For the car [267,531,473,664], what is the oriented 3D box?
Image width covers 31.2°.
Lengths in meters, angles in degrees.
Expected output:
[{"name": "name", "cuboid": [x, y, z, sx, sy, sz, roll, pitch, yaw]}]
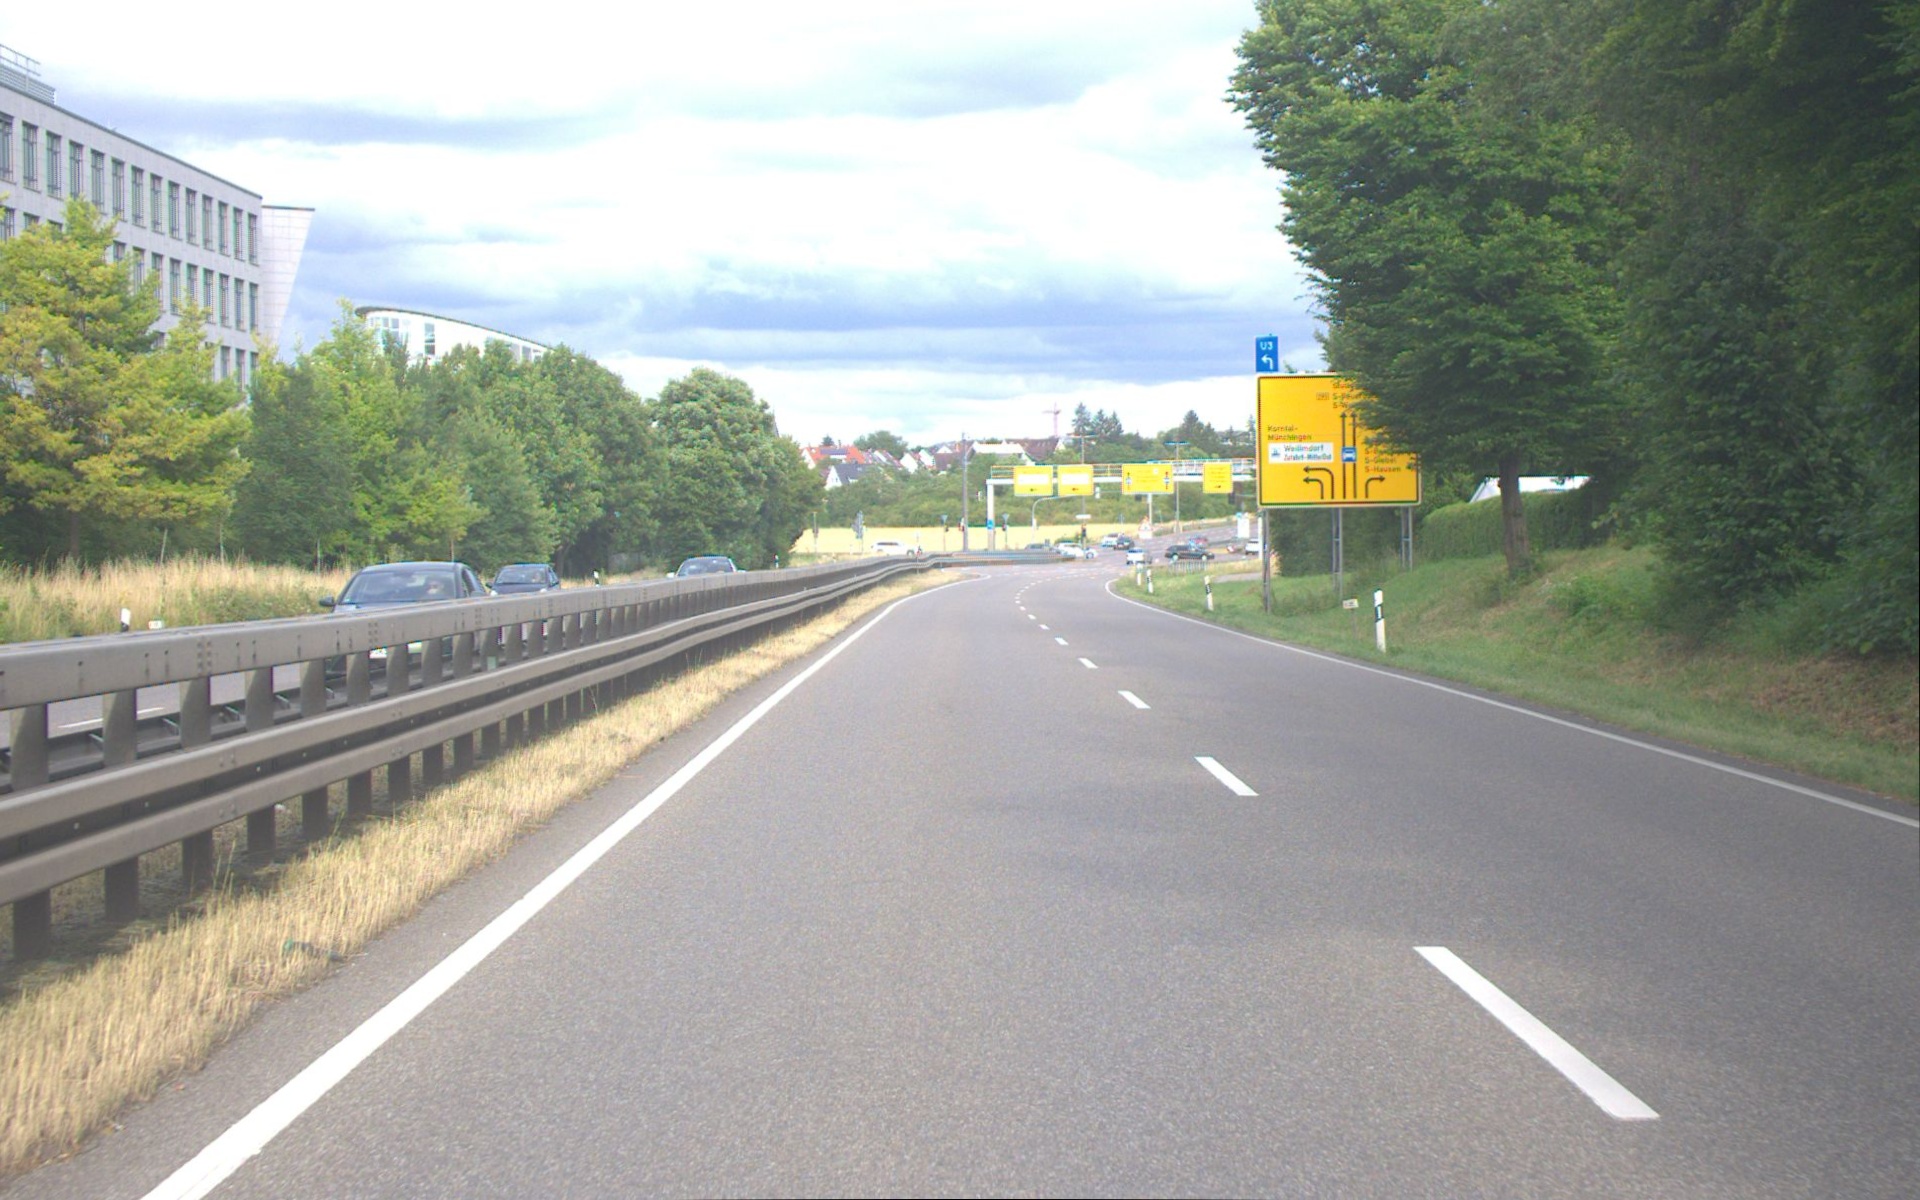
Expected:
[{"name": "car", "cuboid": [-7.067, -0.058, 41.550, 1.742, 1.453, 4.312, -2, 1, -1]}]

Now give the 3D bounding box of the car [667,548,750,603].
[{"name": "car", "cuboid": [-6.443, -0.650, 88.444, 1.835, 1.374, 4.566, 0, 1, -1]}]

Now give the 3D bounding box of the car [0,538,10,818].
[{"name": "car", "cuboid": [-6.499, 0.506, 17.691, 1.742, 1.639, 5.280, -1, 1, 0]}]

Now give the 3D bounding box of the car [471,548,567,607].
[{"name": "car", "cuboid": [-11.049, -0.583, 86.305, 1.757, 1.417, 4.566, 0, 1, 1]}]
